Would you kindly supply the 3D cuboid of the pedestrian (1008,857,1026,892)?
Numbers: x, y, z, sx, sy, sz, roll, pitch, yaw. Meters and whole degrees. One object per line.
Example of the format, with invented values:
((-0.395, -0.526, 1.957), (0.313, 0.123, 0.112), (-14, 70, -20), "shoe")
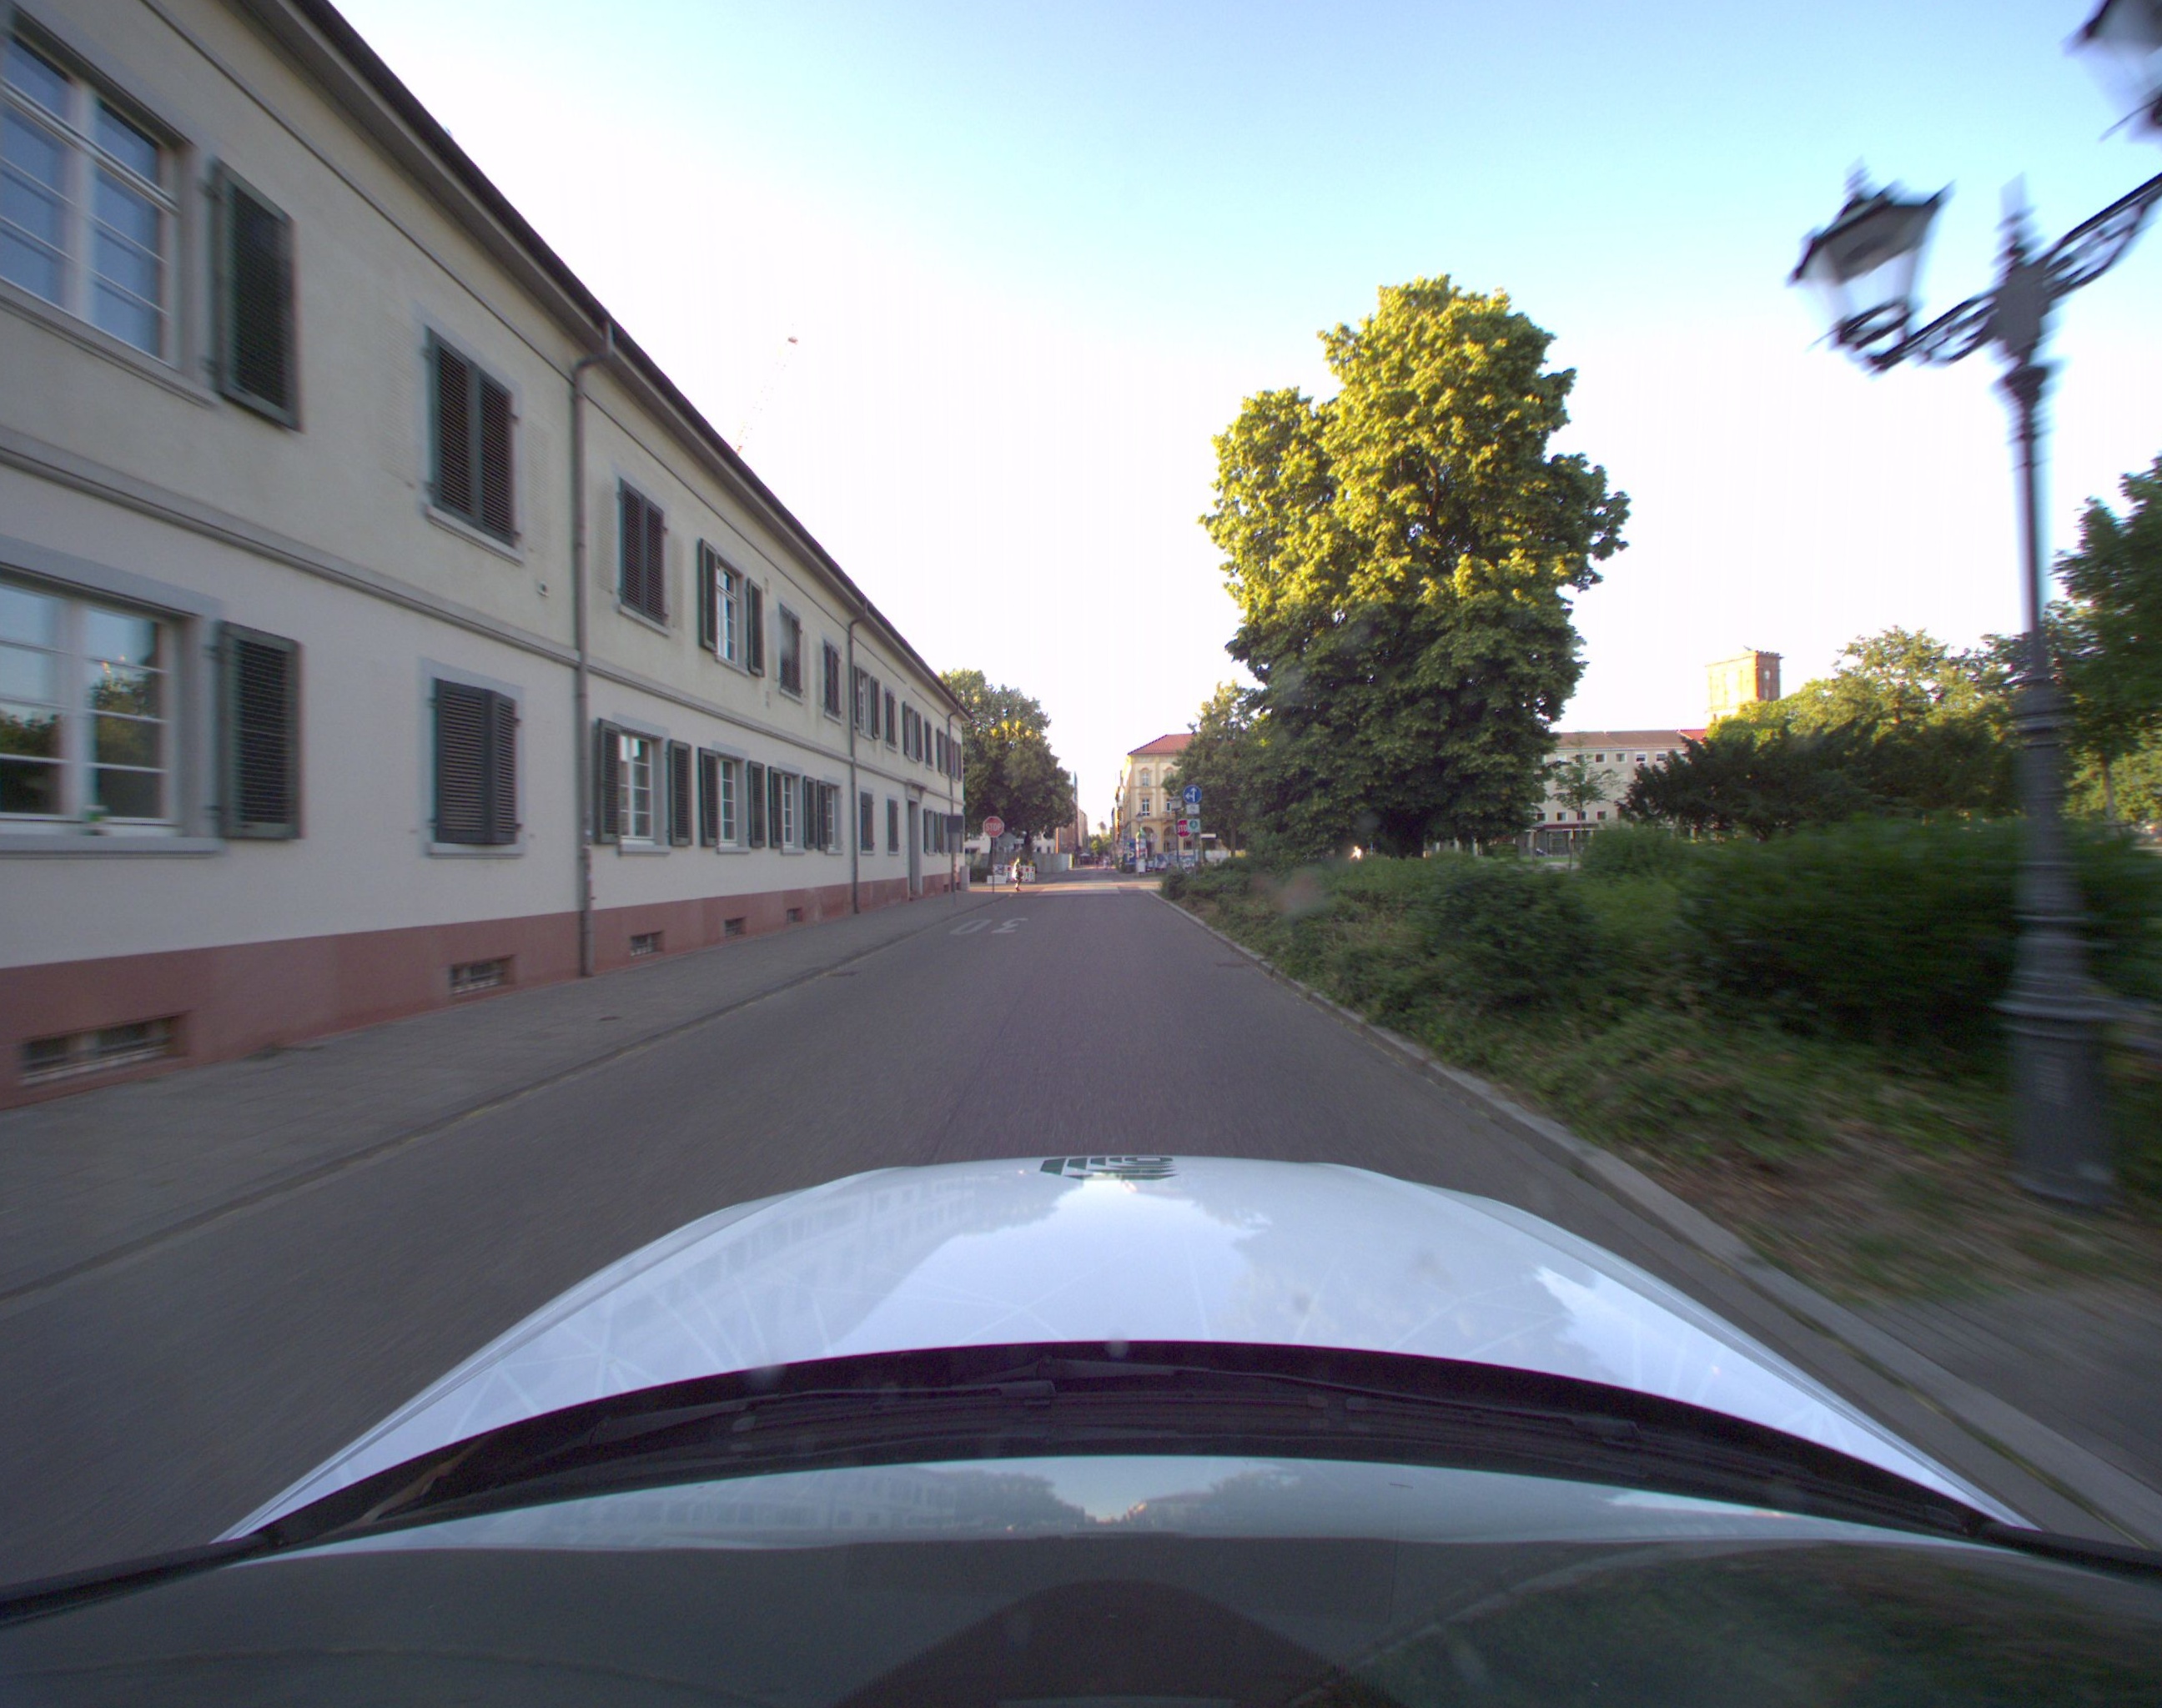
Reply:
((-3.205, 1.012, 40.839), (0.731, 1.689, 0.836), (-2, -1, 1), "pedestrian")

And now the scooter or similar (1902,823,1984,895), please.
((15.717, 0.083, 14.845), (1.217, 1.245, 0.416), (-2, -1, -12), "scooter or similar")

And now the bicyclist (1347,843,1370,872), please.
((16.097, 0.183, 47.172), (1.060, 1.633, 0.594), (-2, -1, -8), "bicyclist")

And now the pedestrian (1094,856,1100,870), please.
((2.027, 1.123, 103.038), (0.655, 1.760, 0.745), (-2, 0, 2), "pedestrian")

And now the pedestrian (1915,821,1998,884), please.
((19.490, -0.035, 18.142), (0.918, 1.347, 0.880), (-2, -1, -14), "pedestrian")

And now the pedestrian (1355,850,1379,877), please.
((13.648, 0.469, 38.904), (0.685, 1.237, 0.811), (-2, -1, -29), "pedestrian")

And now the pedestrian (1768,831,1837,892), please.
((14.906, 0.151, 16.846), (0.719, 1.191, 0.748), (-2, -1, 4), "pedestrian")

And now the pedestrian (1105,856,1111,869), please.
((3.418, 1.097, 102.953), (0.655, 1.635, 0.745), (-2, 0, 1), "pedestrian")

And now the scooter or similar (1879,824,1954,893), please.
((15.883, 0.076, 15.486), (1.219, 1.245, 0.416), (-2, -1, -15), "scooter or similar")

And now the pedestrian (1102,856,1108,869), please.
((2.960, 1.097, 101.394), (0.655, 1.617, 0.745), (-2, 0, 1), "pedestrian")

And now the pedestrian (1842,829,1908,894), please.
((15.073, 0.144, 15.480), (0.656, 1.191, 0.800), (-3, -1, 29), "pedestrian")

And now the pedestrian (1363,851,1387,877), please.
((14.171, 0.480, 39.314), (0.600, 1.261, 0.865), (-2, -1, -30), "pedestrian")

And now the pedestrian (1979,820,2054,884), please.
((20.474, -0.041, 17.837), (0.760, 1.347, 0.784), (-2, -1, -15), "pedestrian")

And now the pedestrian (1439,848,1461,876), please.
((17.774, 0.392, 39.268), (0.595, 1.342, 0.817), (-2, -1, -4), "pedestrian")

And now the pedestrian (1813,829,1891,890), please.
((15.662, 0.112, 16.571), (0.803, 1.191, 0.790), (-2, -1, 4), "pedestrian")

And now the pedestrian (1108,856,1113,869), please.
((3.673, 1.017, 101.361), (0.655, 1.617, 0.745), (-2, 0, 1), "pedestrian")

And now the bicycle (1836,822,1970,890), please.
((16.829, 0.052, 16.752), (0.618, 1.300, 2.017), (-2, -1, -3), "bicycle")
